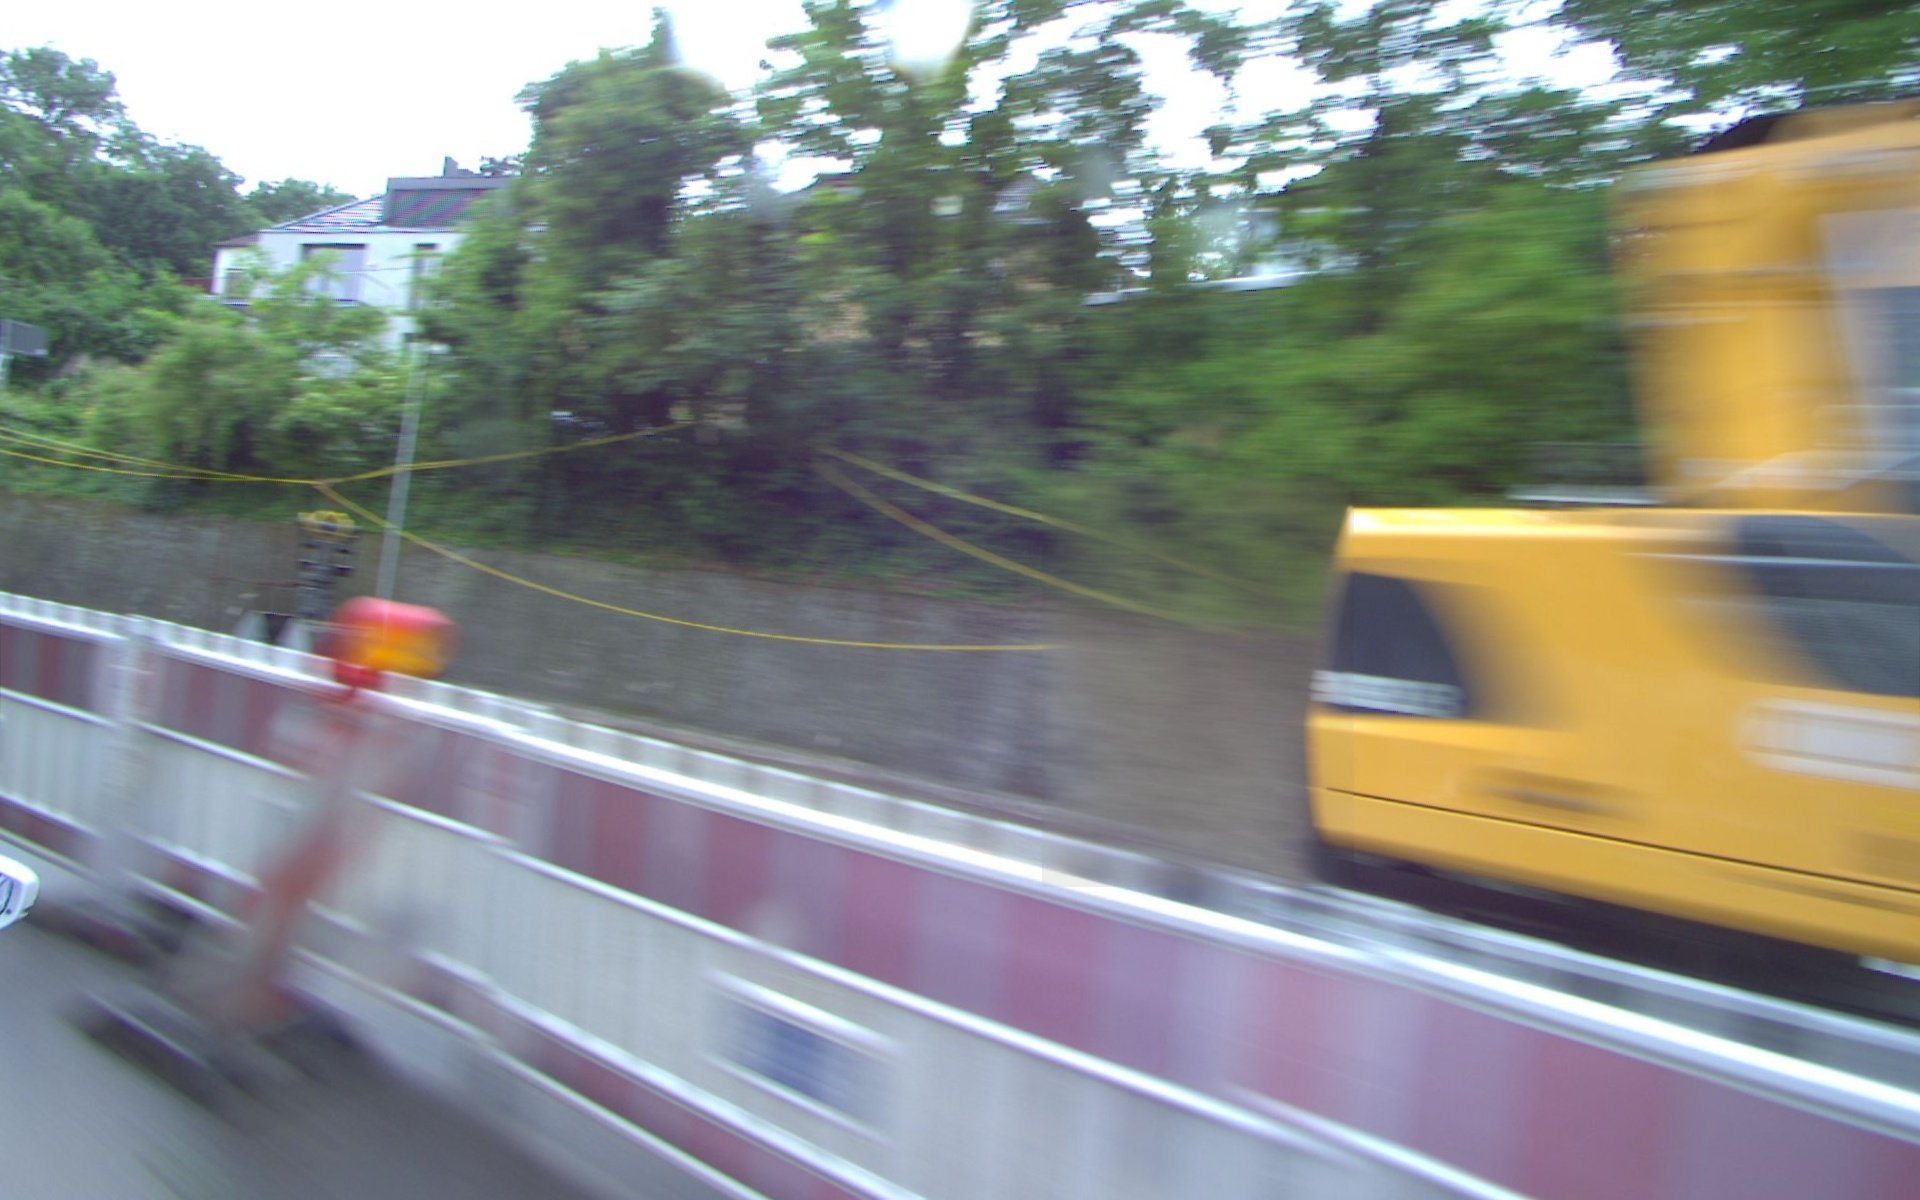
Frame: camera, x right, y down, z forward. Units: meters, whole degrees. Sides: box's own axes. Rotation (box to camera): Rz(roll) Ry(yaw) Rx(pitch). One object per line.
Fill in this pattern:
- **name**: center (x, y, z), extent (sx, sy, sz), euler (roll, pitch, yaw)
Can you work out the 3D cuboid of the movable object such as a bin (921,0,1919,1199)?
- **movable object such as a bin**: center (3.763, 0.282, 2.910), extent (7.217, 4.060, 2.820), euler (6, -2, 38)
